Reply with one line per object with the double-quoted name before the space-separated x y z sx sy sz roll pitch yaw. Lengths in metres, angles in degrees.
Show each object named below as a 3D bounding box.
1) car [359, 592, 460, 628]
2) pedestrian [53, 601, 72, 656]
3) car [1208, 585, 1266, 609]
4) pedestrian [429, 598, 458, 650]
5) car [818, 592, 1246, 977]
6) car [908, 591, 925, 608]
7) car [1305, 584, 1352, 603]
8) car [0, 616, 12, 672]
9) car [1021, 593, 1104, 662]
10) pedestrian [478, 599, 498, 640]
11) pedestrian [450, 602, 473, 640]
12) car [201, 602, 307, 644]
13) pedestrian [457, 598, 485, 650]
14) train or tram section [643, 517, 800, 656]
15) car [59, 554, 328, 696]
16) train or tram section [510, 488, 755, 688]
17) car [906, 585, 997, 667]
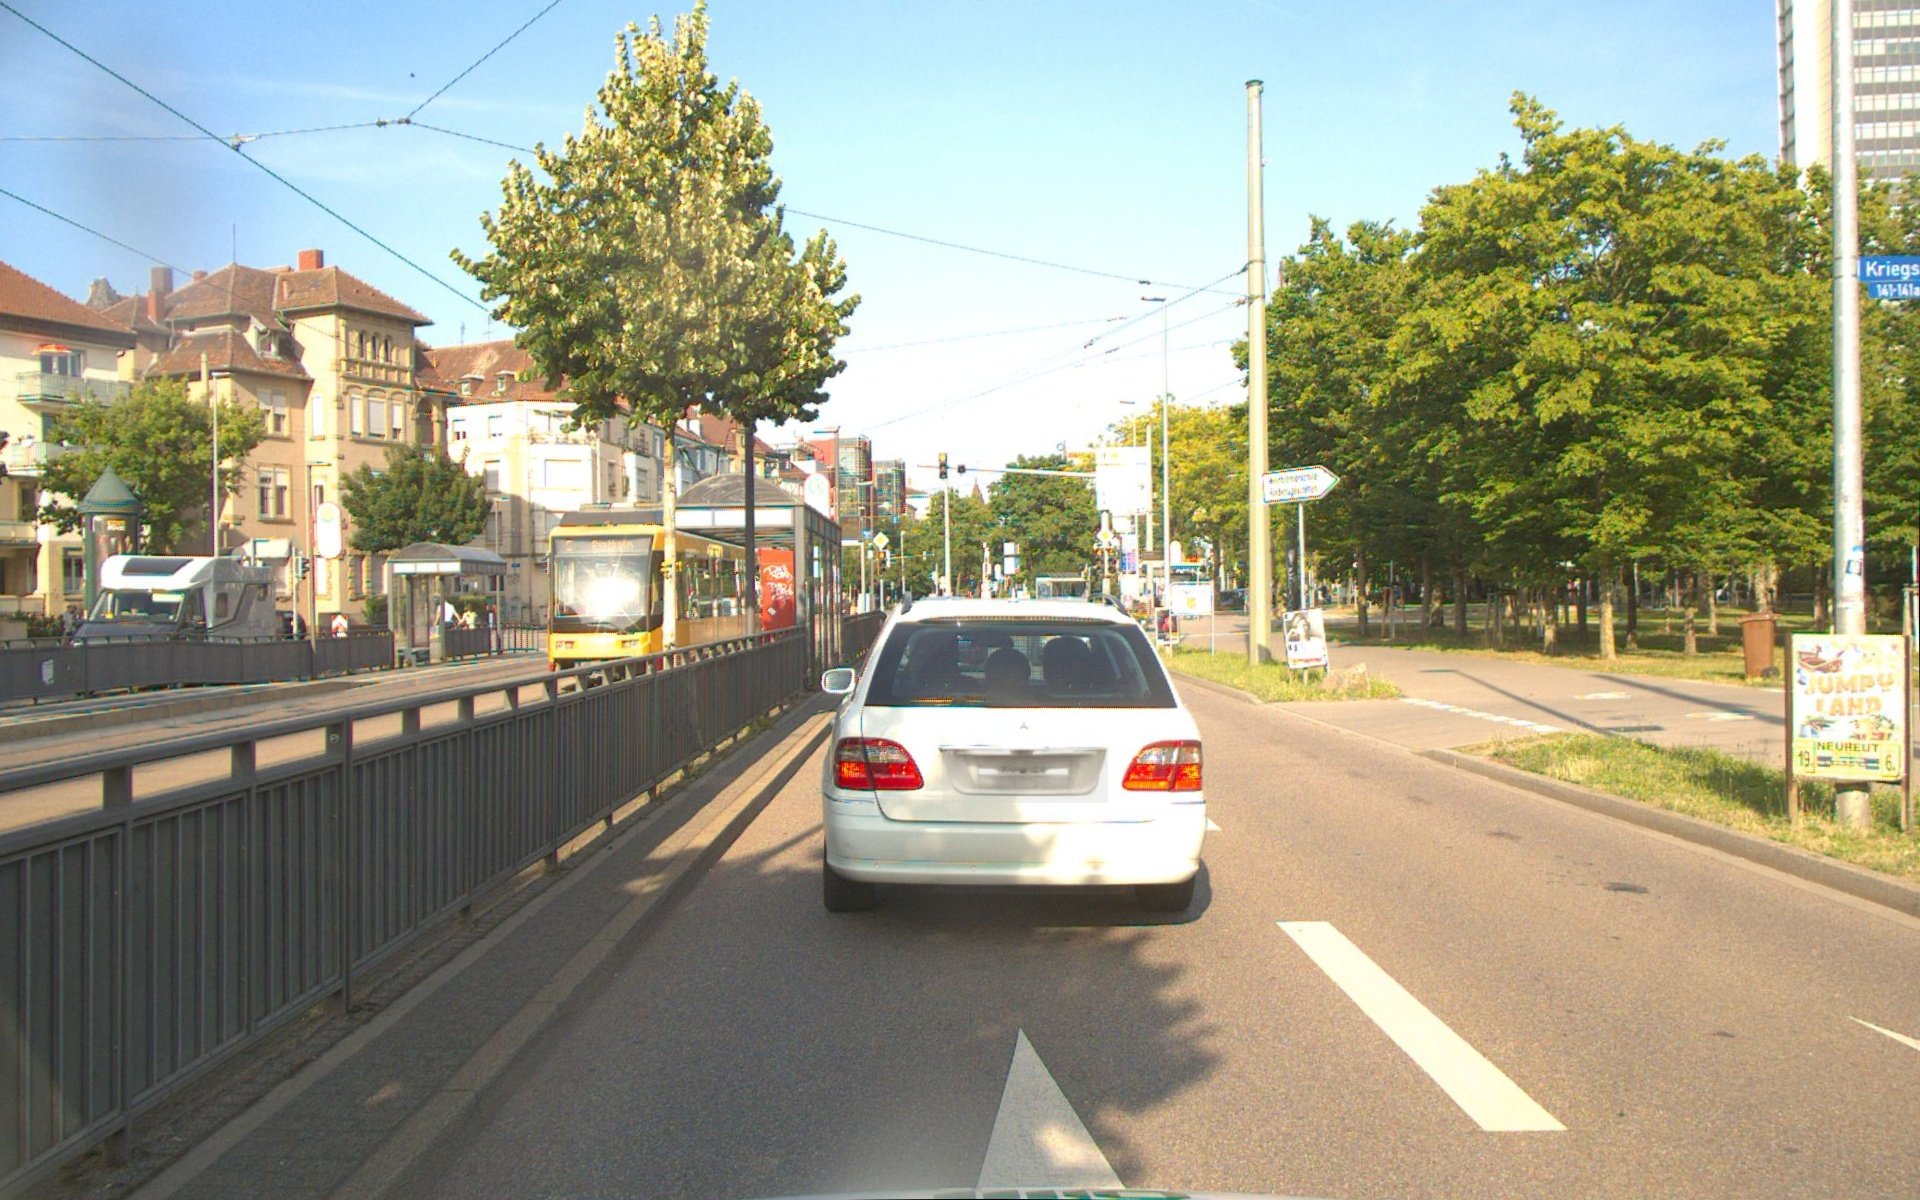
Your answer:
"car" -26.923 0.458 81.018 2.159 1.656 4.716 0 0 22
"pedestrian" -33.806 1.056 62.309 0.412 2.049 0.434 0 0 18
"car" 21.084 -0.241 125.846 3.907 1.680 1.999 -1 0 25
"pedestrian" -17.961 0.832 57.552 0.871 1.784 0.744 0 0 -12
"car" 0.247 0.739 8.734 1.723 1.530 3.999 -1 0 -2
"car" -5.416 -0.064 205.582 1.953 2.049 3.999 -1 0 -1
"car" 34.191 -0.572 153.523 3.940 1.680 1.982 -1 0 -28
"car" -26.723 1.147 42.412 3.902 1.422 2.002 0 0 14
"car" 2.596 0.649 41.936 1.990 1.633 4.002 0 0 3
"pedestrian" -21.115 0.865 74.041 0.651 1.784 0.746 0 0 3
"pedestrian" -23.828 0.985 79.075 0.868 1.784 0.746 0 0 3
"car" -30.876 0.986 72.380 3.903 1.780 2.001 0 0 17
"pedestrian" -17.062 0.821 57.742 0.871 1.784 0.744 0 0 -12
"train or tram section" -6.711 -0.402 48.773 2.791 3.540 13.198 0 0 0
"car" -16.566 0.465 36.402 2.544 2.783 7.466 0 0 -1
"train or tram section" -6.621 -0.288 35.921 2.791 3.540 13.199 0 1 0
"car" -0.142 0.522 36.844 1.750 1.719 4.002 0 0 4
